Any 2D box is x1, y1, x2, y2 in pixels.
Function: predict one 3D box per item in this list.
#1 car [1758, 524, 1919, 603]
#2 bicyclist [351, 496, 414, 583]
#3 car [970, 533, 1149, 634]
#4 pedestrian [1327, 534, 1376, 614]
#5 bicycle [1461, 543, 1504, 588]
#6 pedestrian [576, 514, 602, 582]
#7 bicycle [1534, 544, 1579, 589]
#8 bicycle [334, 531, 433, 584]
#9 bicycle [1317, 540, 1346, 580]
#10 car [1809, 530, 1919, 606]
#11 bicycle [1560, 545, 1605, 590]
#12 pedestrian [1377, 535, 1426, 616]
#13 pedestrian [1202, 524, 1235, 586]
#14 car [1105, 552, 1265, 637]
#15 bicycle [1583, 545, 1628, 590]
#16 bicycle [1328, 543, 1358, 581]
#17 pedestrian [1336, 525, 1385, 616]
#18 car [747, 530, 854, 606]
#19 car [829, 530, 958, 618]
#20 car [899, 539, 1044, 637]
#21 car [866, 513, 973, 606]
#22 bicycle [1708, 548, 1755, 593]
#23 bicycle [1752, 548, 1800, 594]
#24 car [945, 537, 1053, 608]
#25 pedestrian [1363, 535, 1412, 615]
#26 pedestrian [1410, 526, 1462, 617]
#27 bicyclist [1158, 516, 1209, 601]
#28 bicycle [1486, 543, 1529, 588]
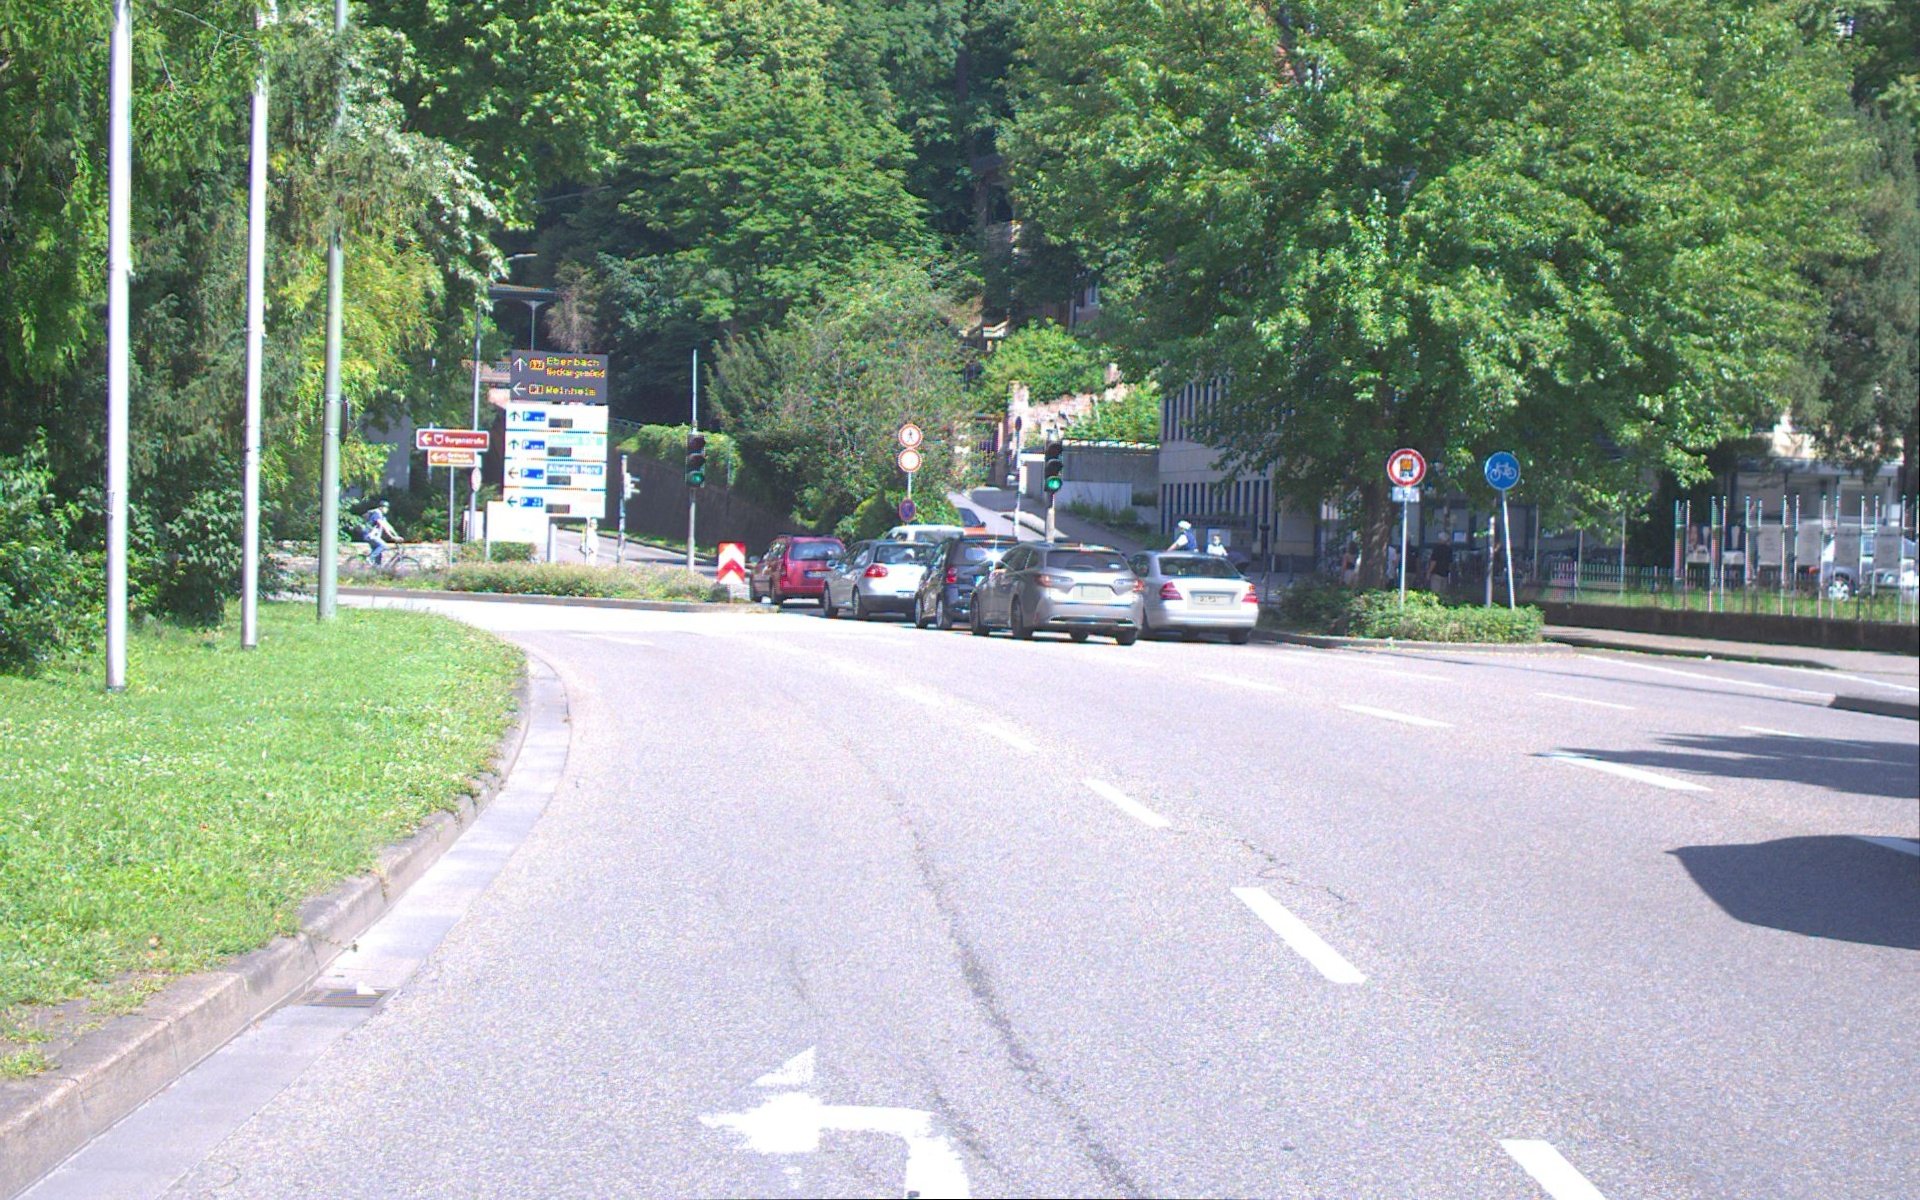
[{"bbox_3d":[18.166,-0.711,68.156,4.141,1.470,1.878,1,1,-14],"label":"car"},{"bbox_3d":[-13.097,-1.368,77.984,1.127,1.926,0.748,2,1,16],"label":"bicyclist"},{"bbox_3d":[1.406,-0.267,50.058,1.755,1.329,3.803,2,1,-11],"label":"car"},{"bbox_3d":[8.227,-0.551,72.312,0.771,1.657,0.830,2,1,-8],"label":"pedestrian"},{"bbox_3d":[12.920,-0.867,85.100,0.537,1.081,1.835,1,1,-7],"label":"bicycle"},{"bbox_3d":[-8.975,-1.260,83.200,0.547,1.615,0.634,1,2,0],"label":"pedestrian"},{"bbox_3d":[14.778,-0.831,85.225,0.537,1.081,1.835,1,1,-7],"label":"bicycle"},{"bbox_3d":[-13.077,-0.965,77.979,2.078,1.109,0.756,2,1,16],"label":"bicycle"},{"bbox_3d":[9.725,-1.052,90.035,0.405,1.009,1.341,1,2,-9],"label":"bicycle"},{"bbox_3d":[18.137,-0.561,63.307,4.465,1.331,1.822,1,1,-11],"label":"car"},{"bbox_3d":[15.450,-0.819,85.323,0.537,1.081,1.835,1,1,-7],"label":"bicycle"},{"bbox_3d":[9.187,-0.513,71.561,0.771,1.657,0.830,2,1,-8],"label":"pedestrian"},{"bbox_3d":[6.117,-1.072,81.452,0.489,1.453,0.734,1,1,-21],"label":"pedestrian"},{"bbox_3d":[3.551,-0.108,54.848,1.755,1.209,3.495,2,1,-10],"label":"car"},{"bbox_3d":[16.040,-0.809,85.420,0.537,1.081,1.835,1,1,-7],"label":"bicycle"},{"bbox_3d":[9.796,-0.970,88.016,0.405,0.938,1.341,1,2,-9],"label":"bicycle"},{"bbox_3d":[8.291,-0.616,71.130,0.771,1.848,0.829,2,1,-6],"label":"pedestrian"},{"bbox_3d":[-3.338,-0.682,71.249,1.755,1.456,3.495,2,1,-10],"label":"car"},{"bbox_3d":[-1.225,-0.492,62.038,1.755,1.456,3.647,2,1,-10],"label":"car"},{"bbox_3d":[0.159,-0.219,56.228,1.755,1.456,3.495,2,1,-10],"label":"car"},{"bbox_3d":[-0.919,-0.904,75.380,1.755,1.931,3.495,2,1,-10],"label":"car"},{"bbox_3d":[19.187,-0.747,85.523,0.537,1.081,1.835,1,1,-7],"label":"bicycle"},{"bbox_3d":[20.359,-0.728,85.788,0.537,1.081,1.835,1,1,-7],"label":"bicycle"},{"bbox_3d":[0.842,-0.636,76.624,1.755,1.456,3.495,2,1,-10],"label":"car"},{"bbox_3d":[9.034,-0.534,72.685,0.771,1.657,0.830,2,1,-8],"label":"pedestrian"},{"bbox_3d":[9.857,-0.601,71.176,0.771,1.848,0.830,2,1,-10],"label":"pedestrian"},{"bbox_3d":[5.191,-0.962,79.821,1.126,1.926,0.748,2,1,3],"label":"bicyclist"},{"bbox_3d":[13.559,-0.855,85.173,0.537,1.081,1.835,1,1,-7],"label":"bicycle"}]
